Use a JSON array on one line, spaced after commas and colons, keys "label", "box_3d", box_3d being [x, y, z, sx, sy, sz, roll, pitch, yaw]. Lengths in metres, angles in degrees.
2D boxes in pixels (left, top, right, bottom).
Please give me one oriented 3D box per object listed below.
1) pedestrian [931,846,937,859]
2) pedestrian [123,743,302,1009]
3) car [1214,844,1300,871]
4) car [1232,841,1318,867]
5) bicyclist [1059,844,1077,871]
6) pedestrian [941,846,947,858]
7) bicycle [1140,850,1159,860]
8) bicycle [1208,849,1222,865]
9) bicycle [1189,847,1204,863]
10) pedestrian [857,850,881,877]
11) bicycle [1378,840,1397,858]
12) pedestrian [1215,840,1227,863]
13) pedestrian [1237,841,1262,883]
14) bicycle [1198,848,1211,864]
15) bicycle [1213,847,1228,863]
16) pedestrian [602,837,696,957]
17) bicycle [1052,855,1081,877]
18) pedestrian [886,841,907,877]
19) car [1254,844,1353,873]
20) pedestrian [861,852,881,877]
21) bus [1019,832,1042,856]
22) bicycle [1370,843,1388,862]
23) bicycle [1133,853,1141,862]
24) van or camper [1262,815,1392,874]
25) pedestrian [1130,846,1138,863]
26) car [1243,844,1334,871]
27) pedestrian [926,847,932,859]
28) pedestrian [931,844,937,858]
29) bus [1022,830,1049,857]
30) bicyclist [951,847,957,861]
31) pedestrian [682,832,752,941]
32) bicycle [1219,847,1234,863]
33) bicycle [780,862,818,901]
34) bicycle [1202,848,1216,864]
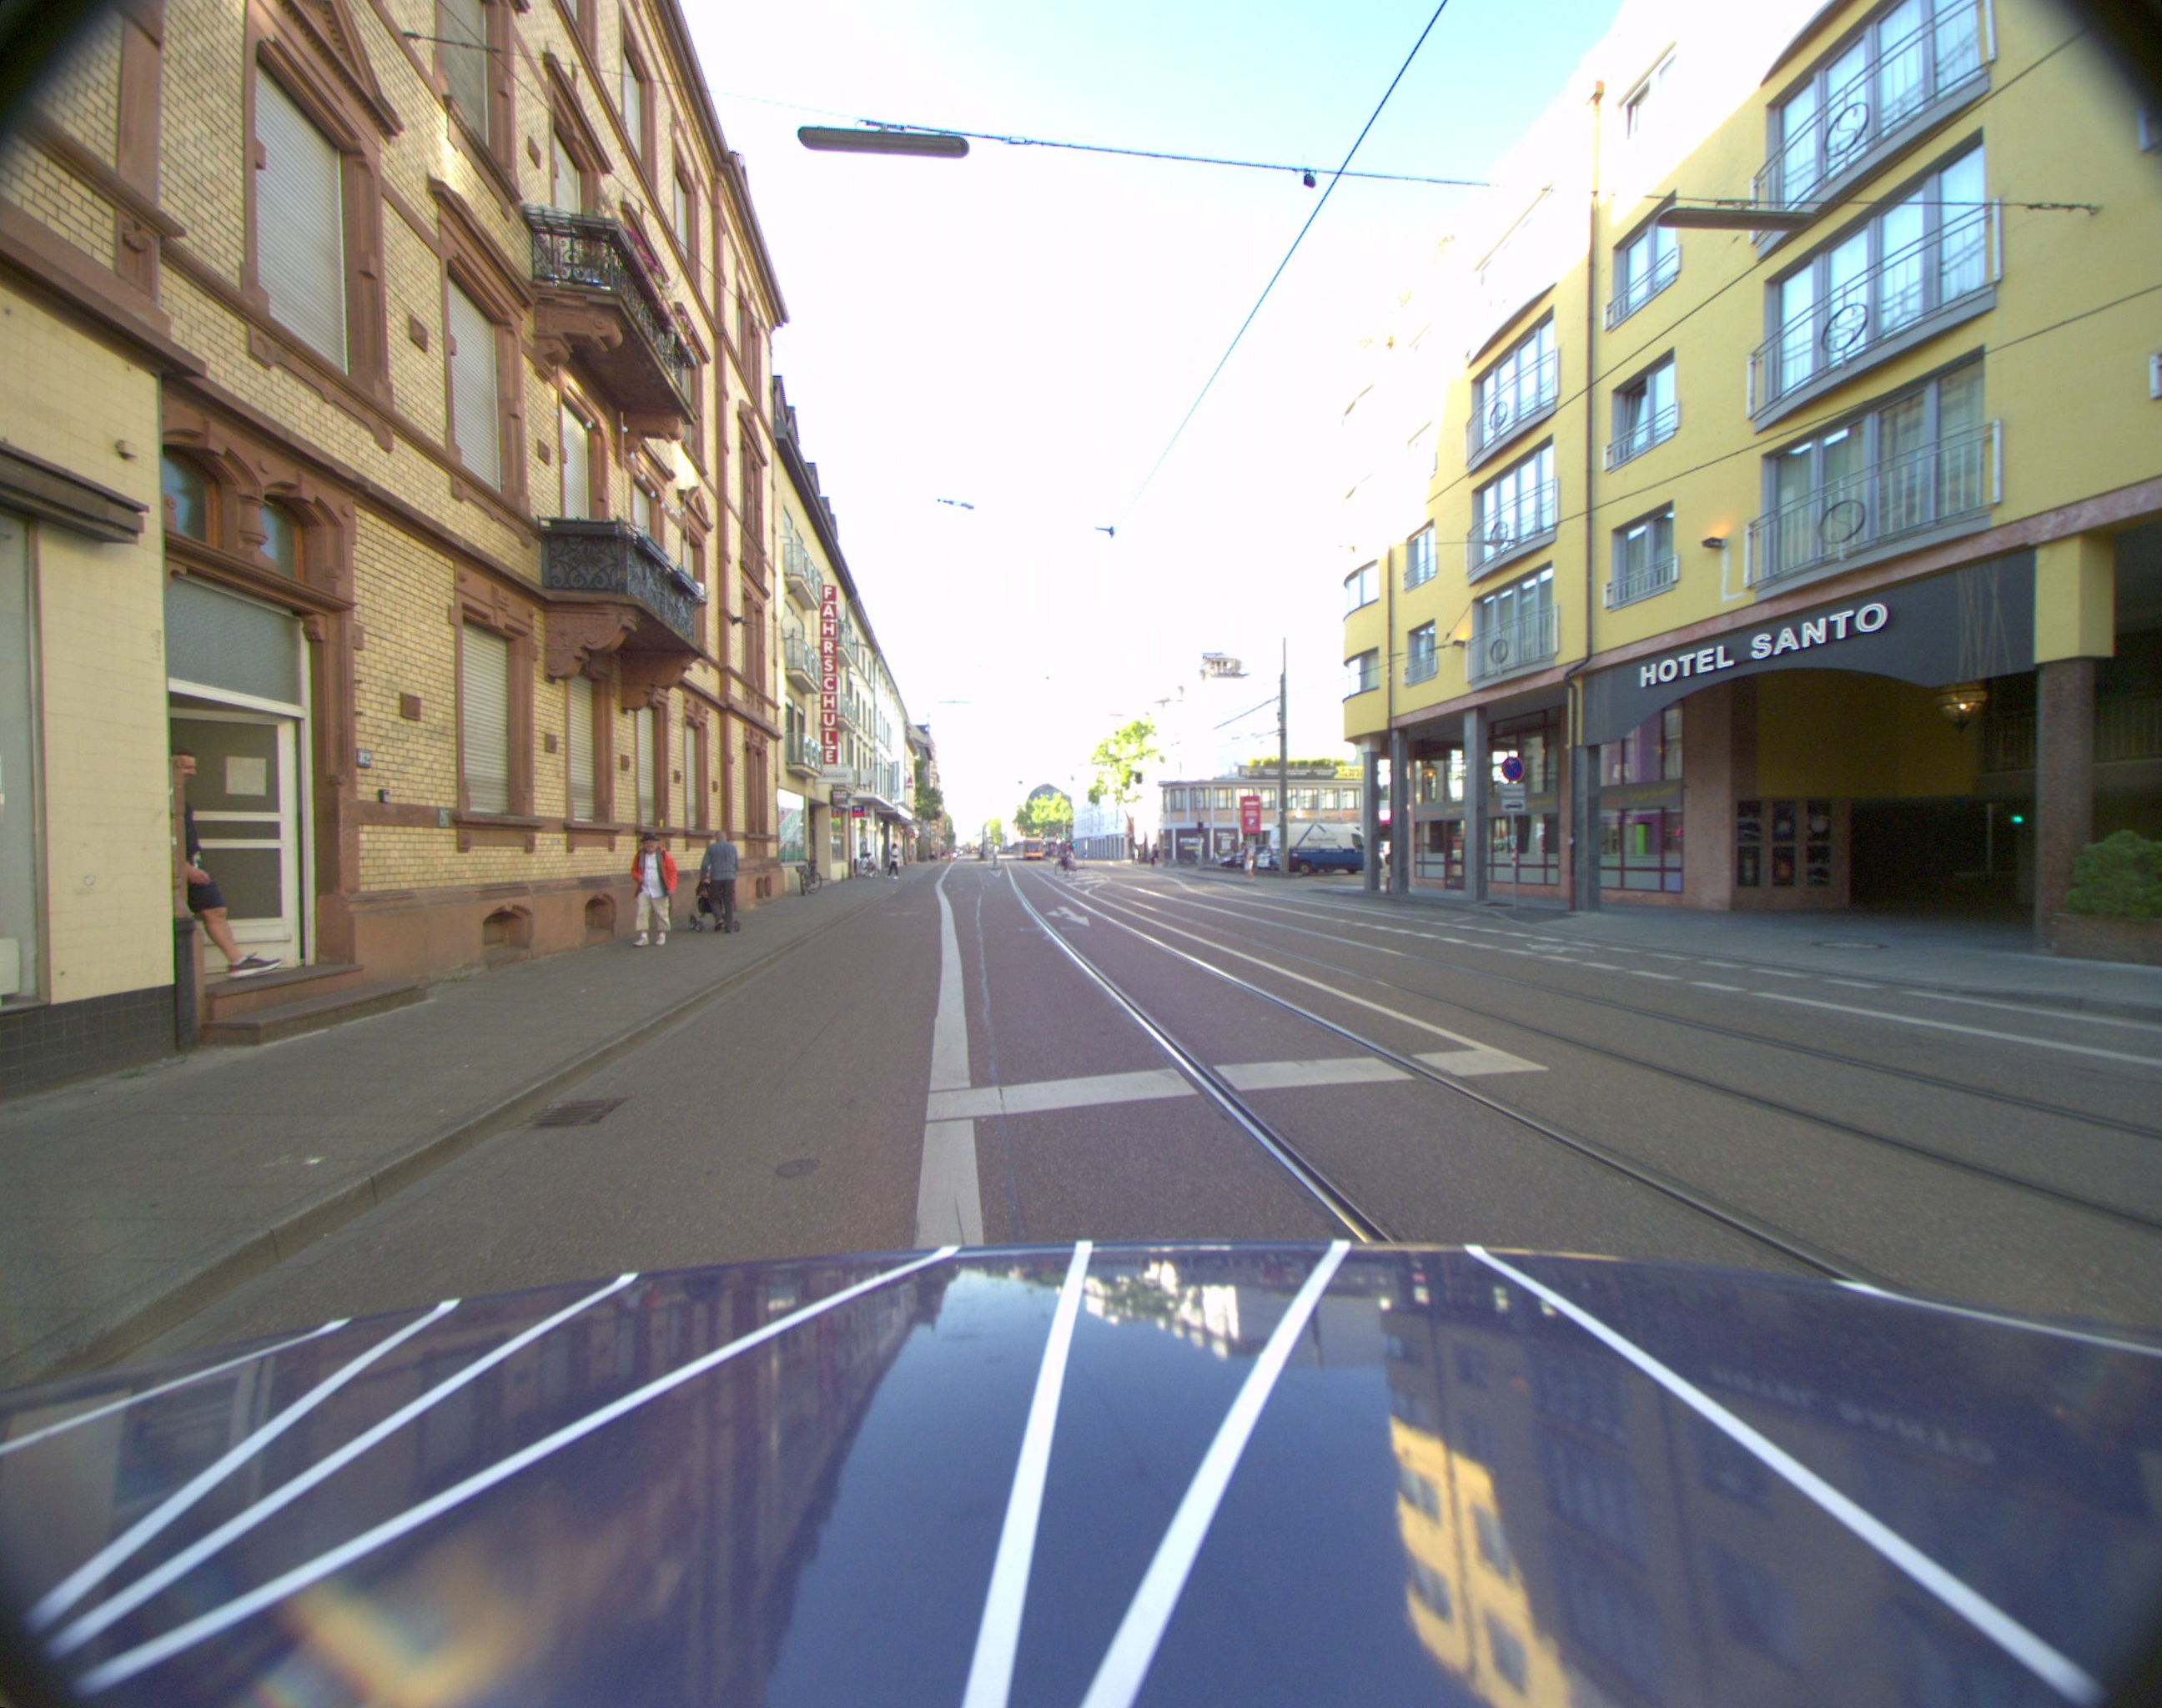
[{"label": "pedestrian", "box_3d": [-18.560, -0.204, 96.118, 0.651, 1.706, 0.805, -1, 1, -15]}, {"label": "pedestrian", "box_3d": [-6.577, 0.166, 5.791, 0.515, 1.895, 0.594, 5, -1, -7]}, {"label": "car", "box_3d": [11.014, 0.204, 47.628, 4.910, 1.574, 1.878, 0, 0, -8]}, {"label": "car", "box_3d": [11.486, -0.009, 45.058, 4.603, 1.467, 1.878, 0, 0, -8]}, {"label": "bicyclist", "box_3d": [-0.771, 0.185, 45.153, 0.689, 1.541, 0.839, 4, 5, 41]}, {"label": "pedestrian", "box_3d": [-20.998, -0.331, 116.545, 0.808, 1.790, 0.761, -1, 1, -8]}, {"label": "bicycle", "box_3d": [6.805, 0.142, 75.475, 1.850, 0.906, 0.389, -2, -3, -3]}, {"label": "bicycle", "box_3d": [10.028, 0.203, 56.992, 0.444, 1.180, 1.829, -1, 0, -11]}, {"label": "bicycle", "box_3d": [8.629, 0.049, 56.933, 0.447, 1.180, 1.829, -1, 0, -14]}, {"label": "pedestrian", "box_3d": [-10.644, 0.471, 38.228, 0.833, 1.248, 0.704, 5, 0, -43]}, {"label": "bicycle", "box_3d": [19.886, -0.314, 49.312, 0.432, 1.180, 1.831, 0, 0, -1]}, {"label": "pedestrian", "box_3d": [10.425, -0.178, 56.781, 0.683, 1.687, 0.682, -1, 1, -10]}, {"label": "pedestrian", "box_3d": [7.471, 0.340, 33.711, 0.836, 1.822, 0.908, 0, 1, -9]}, {"label": "bicycle", "box_3d": [9.199, 0.130, 56.539, 0.441, 1.180, 1.830, 0, 0, -9]}, {"label": "bicycle", "box_3d": [10.438, 0.046, 56.978, 0.449, 1.180, 1.829, -1, 0, -11]}, {"label": "pedestrian", "box_3d": [-6.192, 0.606, 10.947, 0.800, 1.618, 0.825, 5, -1, -7]}, {"label": "bicycle", "box_3d": [-0.843, 0.702, 45.117, 0.681, 1.164, 1.835, 4, 5, 41]}, {"label": "pedestrian", "box_3d": [-9.500, 0.279, 39.224, 0.706, 1.801, 0.680, 5, 0, 7]}, {"label": "car", "box_3d": [11.614, 0.218, 39.790, 4.603, 1.467, 1.878, 0, 0, -8]}, {"label": "pedestrian", "box_3d": [-10.847, 0.548, 39.252, 0.708, 1.168, 1.013, 5, 0, -28]}, {"label": "bus", "box_3d": [-8.163, -1.557, 120.434, 2.820, 3.547, 13.668, -1, 1, -7]}, {"label": "bicycle", "box_3d": [19.324, -0.084, 49.309, 0.432, 1.180, 1.831, 0, 0, -1]}, {"label": "bicycle", "box_3d": [5.598, 0.358, 75.527, 0.389, 0.907, 1.850, -2, 1, -7]}, {"label": "van or camper", "box_3d": [12.036, -0.459, 37.370, 5.624, 2.810, 2.313, 0, 0, -8]}, {"label": "pedestrian", "box_3d": [5.338, 0.014, 76.812, 0.630, 1.706, 0.826, 0, 1, 19]}, {"label": "car", "box_3d": [11.628, 0.192, 42.684, 4.603, 1.467, 1.878, 0, 0, -8]}, {"label": "pedestrian", "box_3d": [-19.187, -0.107, 95.728, 0.651, 1.569, 0.682, -1, 1, -15]}, {"label": "pedestrian", "box_3d": [-18.581, -0.321, 95.925, 0.651, 1.761, 0.696, -1, 1, -4]}, {"label": "bus", "box_3d": [-6.498, -1.446, 107.132, 2.820, 3.547, 13.667, -1, 1, -7]}, {"label": "bicyclist", "box_3d": [-14.664, 0.023, 87.627, 0.677, 1.604, 0.836, -1, 1, -10]}, {"label": "pedestrian", "box_3d": [-6.232, 0.548, 13.048, 0.808, 1.789, 0.761, 3, 0, -9]}, {"label": "bicycle", "box_3d": [10.878, 0.054, 56.853, 0.449, 1.180, 1.829, -1, 0, -11]}, {"label": "bicycle", "box_3d": [-8.497, 0.802, 22.989, 0.557, 1.055, 2.309, 2, 0, -8]}, {"label": "bicycle", "box_3d": [9.582, 0.170, 56.946, 0.449, 1.180, 1.829, -1, 0, -11]}]
